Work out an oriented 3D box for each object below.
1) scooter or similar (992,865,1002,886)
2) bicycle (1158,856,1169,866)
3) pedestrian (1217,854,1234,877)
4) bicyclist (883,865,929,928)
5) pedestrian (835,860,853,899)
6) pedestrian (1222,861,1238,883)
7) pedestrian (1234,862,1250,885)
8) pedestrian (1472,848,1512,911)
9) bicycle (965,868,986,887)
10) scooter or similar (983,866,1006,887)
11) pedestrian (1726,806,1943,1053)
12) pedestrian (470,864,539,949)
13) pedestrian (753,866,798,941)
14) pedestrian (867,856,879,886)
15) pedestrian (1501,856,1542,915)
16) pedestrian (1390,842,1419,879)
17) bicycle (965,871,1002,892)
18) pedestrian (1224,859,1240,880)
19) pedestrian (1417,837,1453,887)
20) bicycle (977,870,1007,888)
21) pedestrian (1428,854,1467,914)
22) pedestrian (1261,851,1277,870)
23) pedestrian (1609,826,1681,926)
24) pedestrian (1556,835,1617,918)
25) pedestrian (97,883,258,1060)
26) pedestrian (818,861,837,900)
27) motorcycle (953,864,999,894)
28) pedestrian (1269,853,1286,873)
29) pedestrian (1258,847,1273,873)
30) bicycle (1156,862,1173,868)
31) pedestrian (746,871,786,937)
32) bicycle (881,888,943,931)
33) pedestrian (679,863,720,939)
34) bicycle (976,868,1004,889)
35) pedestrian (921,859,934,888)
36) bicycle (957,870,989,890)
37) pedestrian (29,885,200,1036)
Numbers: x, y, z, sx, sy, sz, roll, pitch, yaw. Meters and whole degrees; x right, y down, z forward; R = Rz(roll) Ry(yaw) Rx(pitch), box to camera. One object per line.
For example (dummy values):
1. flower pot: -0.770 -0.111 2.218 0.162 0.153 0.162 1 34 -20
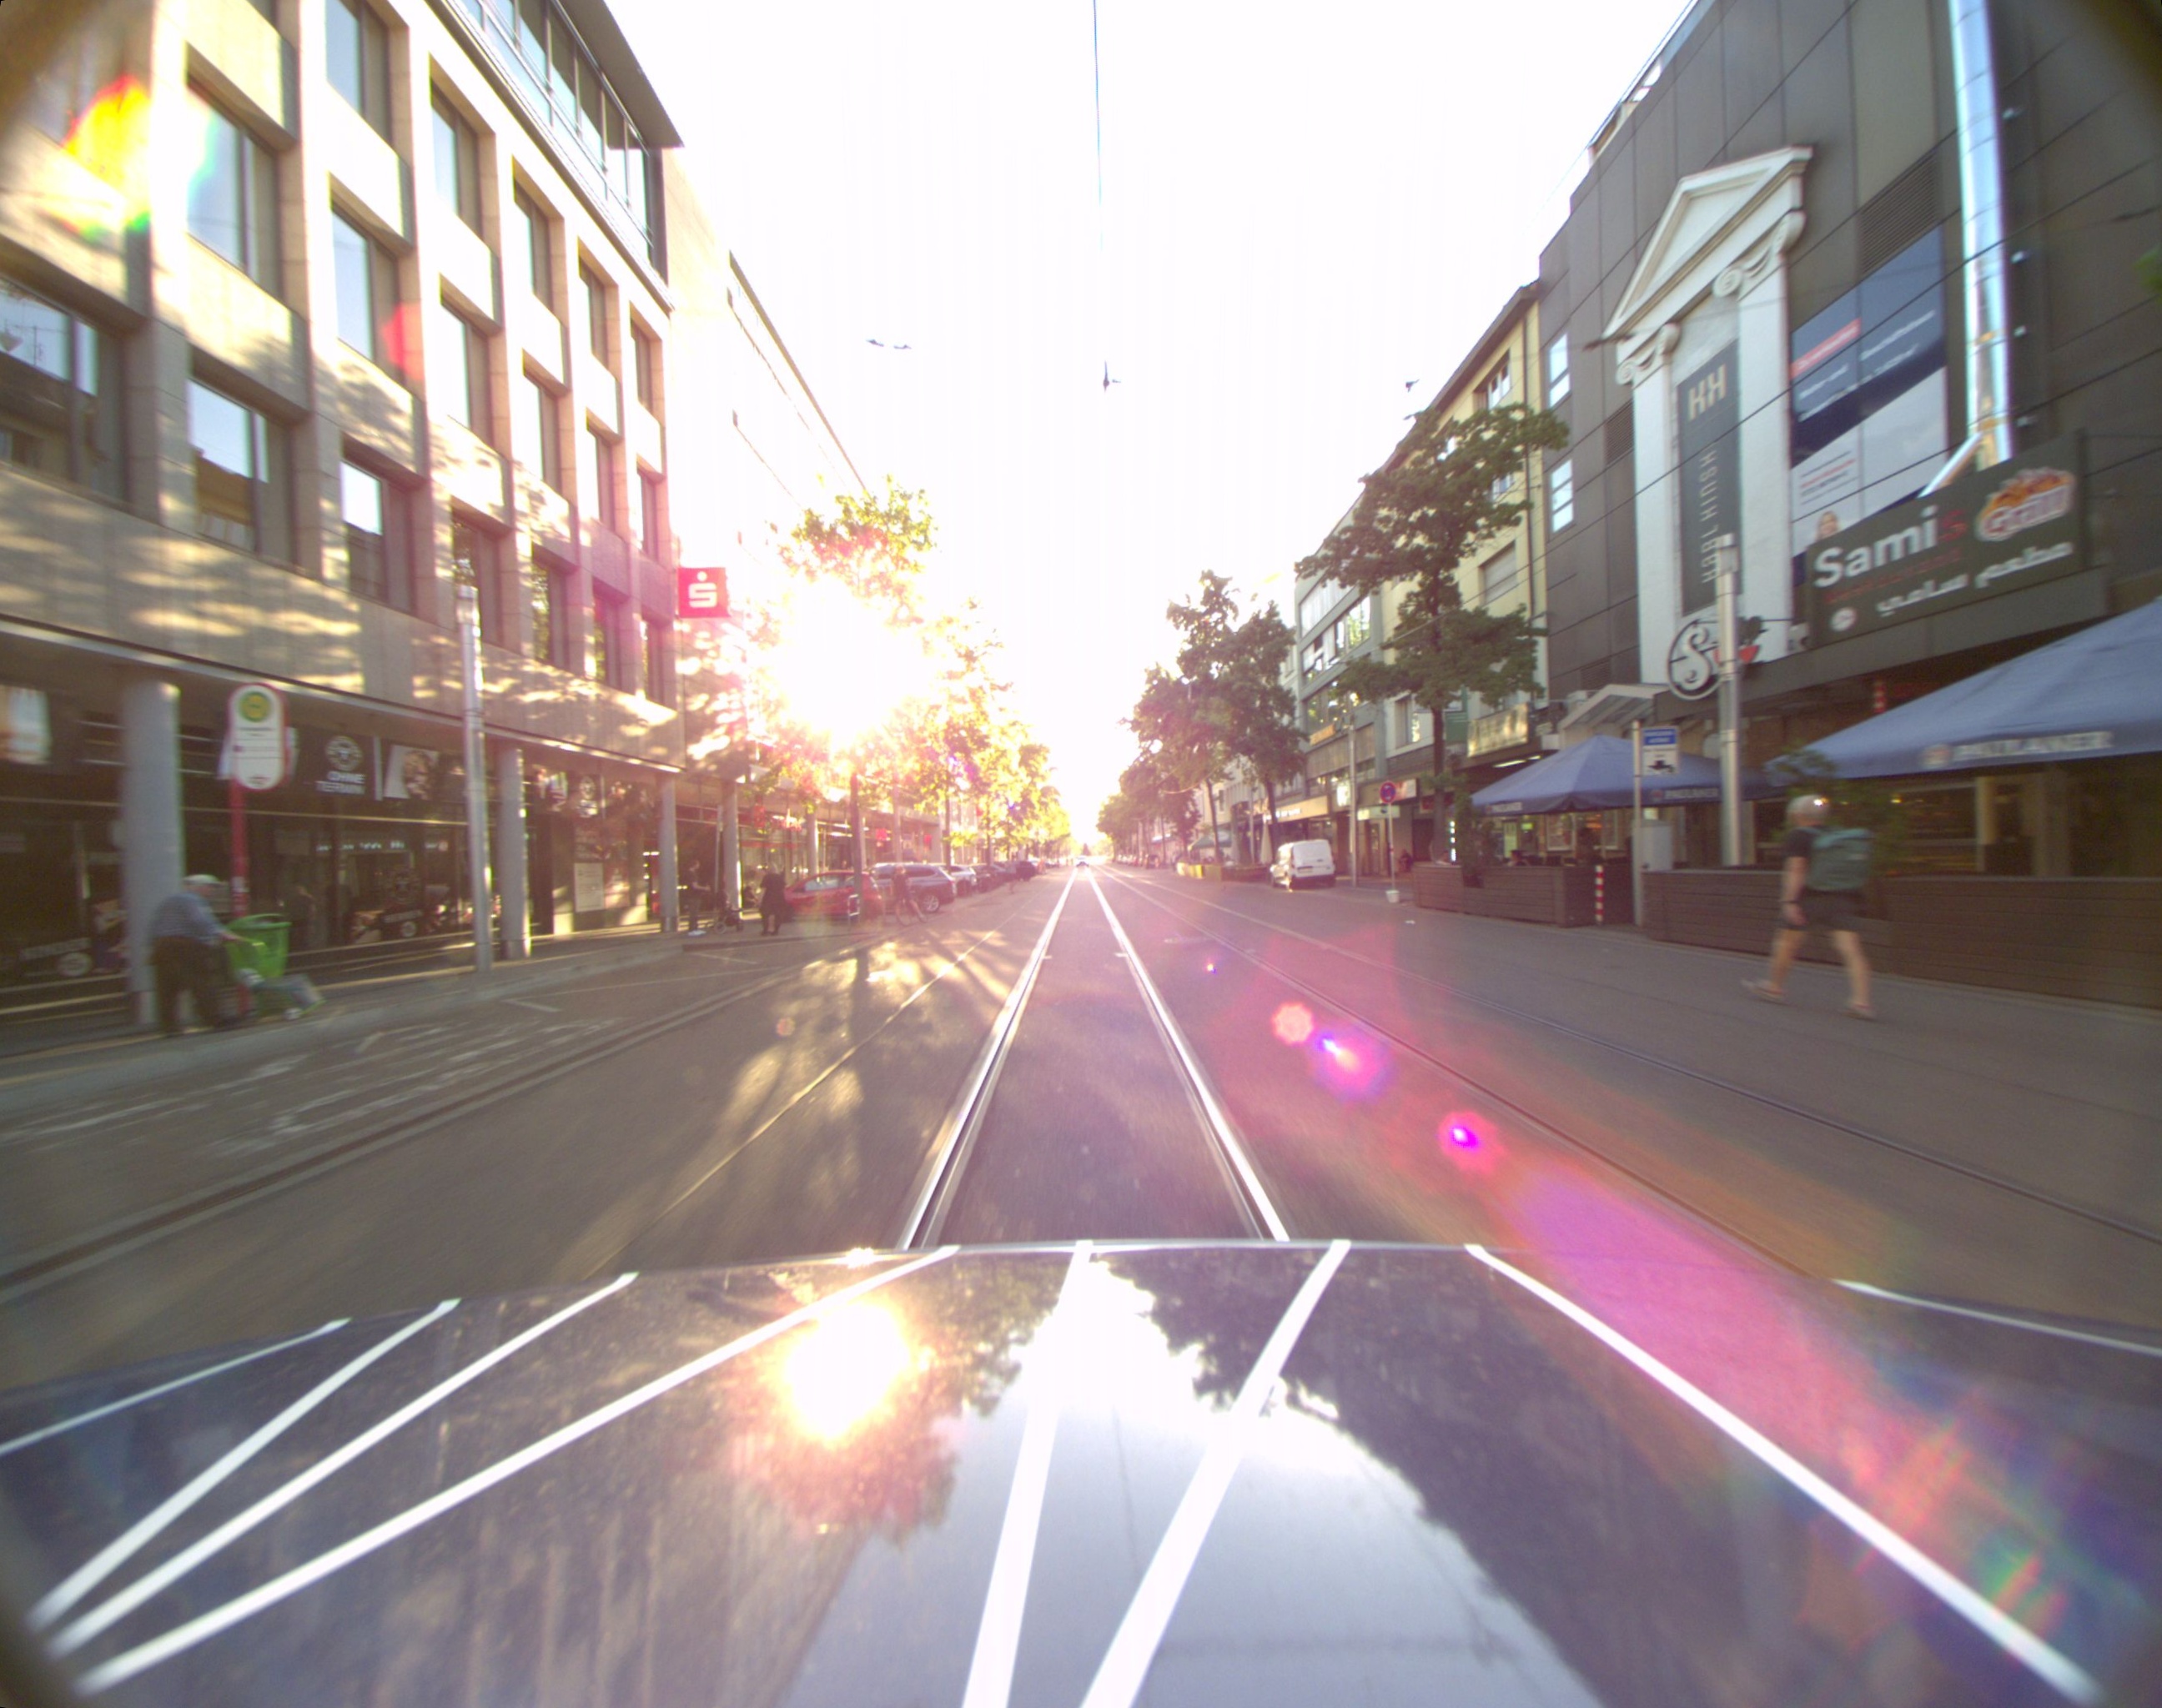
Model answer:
1. scooter or similar: -5.251 1.346 47.378 0.452 1.268 1.306 2 0 -1
2. bicycle: 10.761 0.923 99.481 0.760 1.115 2.045 -5 0 -11
3. pedestrian: 9.043 0.699 47.528 0.756 1.335 0.872 -5 0 0
4. bicyclist: -4.757 1.146 20.691 0.778 1.603 0.913 -4 0 14
5. pedestrian: -10.885 1.169 34.955 0.626 1.733 0.599 -1 0 -1
6. pedestrian: 8.716 1.066 44.579 0.658 1.237 0.872 -5 0 0
7. pedestrian: 9.427 1.119 44.550 0.658 1.285 0.798 -5 0 0
8. pedestrian: 9.493 0.577 17.574 0.551 1.421 0.582 -3 0 -1
9. bicycle: -6.721 1.488 48.319 0.553 1.101 1.845 1 0 -35
10. scooter or similar: -5.526 1.427 48.336 1.309 1.269 0.563 2 1 -31
11. pedestrian: 5.928 0.562 6.033 0.843 1.790 0.790 -4 0 1
12. pedestrian: -12.542 1.129 16.558 0.846 1.773 0.782 -2 0 1
13. pedestrian: -7.042 1.114 17.512 0.679 1.675 0.697 1 0 34
14. pedestrian: -12.314 0.999 44.963 0.558 1.740 0.525 0 1 0
15. pedestrian: 9.424 0.662 16.263 0.496 1.220 0.535 -3 0 -1
16. pedestrian: 13.429 0.251 31.549 0.771 1.458 0.765 -5 1 -2
17. bicycle: -5.320 1.498 41.502 1.899 1.113 0.666 0 1 -29
18. pedestrian: 8.693 0.892 43.811 0.658 1.186 0.798 -5 0 0
19. pedestrian: 12.347 0.262 26.535 0.668 1.676 1.005 -4 0 0
20. bicycle: -5.364 1.491 45.823 1.566 1.082 0.867 1 -2 -30
21. pedestrian: 8.491 0.677 17.628 0.551 1.348 0.582 -3 0 -1
22. pedestrian: 12.675 0.461 51.208 0.738 1.224 0.788 -5 0 0
23. pedestrian: 10.076 0.382 13.590 0.719 1.714 0.675 -3 0 -1
24. pedestrian: 10.239 0.447 15.405 0.675 1.598 0.720 -3 0 -1
25. pedestrian: -8.641 1.091 7.293 0.683 1.563 0.632 -4 0 1
26. pedestrian: -11.514 1.200 34.520 0.625 1.733 0.600 -1 0 6
27. motorcycle: -5.497 1.287 40.057 2.324 1.501 0.856 0 1 -43
28. pedestrian: 12.149 0.535 47.007 0.702 1.161 0.788 -5 0 0
29. pedestrian: 11.262 0.362 46.420 0.649 1.565 0.700 -5 0 0
30. bicycle: 9.226 1.206 84.229 1.799 0.605 1.282 -3 0 3
31. pedestrian: -7.547 1.175 18.208 0.606 1.543 0.691 1 0 44
32. bicycle: -4.563 1.483 20.711 0.719 0.989 2.061 -4 0 14
33. pedestrian: -8.869 1.074 17.655 0.687 1.721 0.634 1 0 42
34. bicycle: -5.241 1.398 43.675 0.480 1.156 1.698 2 1 40
35. pedestrian: -8.897 1.124 44.056 0.681 1.686 0.549 -2 0 -12
36. bicycle: -6.216 1.498 43.862 1.697 1.099 0.631 1 1 -26
37. pedestrian: -11.000 1.172 8.686 0.697 1.580 0.925 -2 0 1
